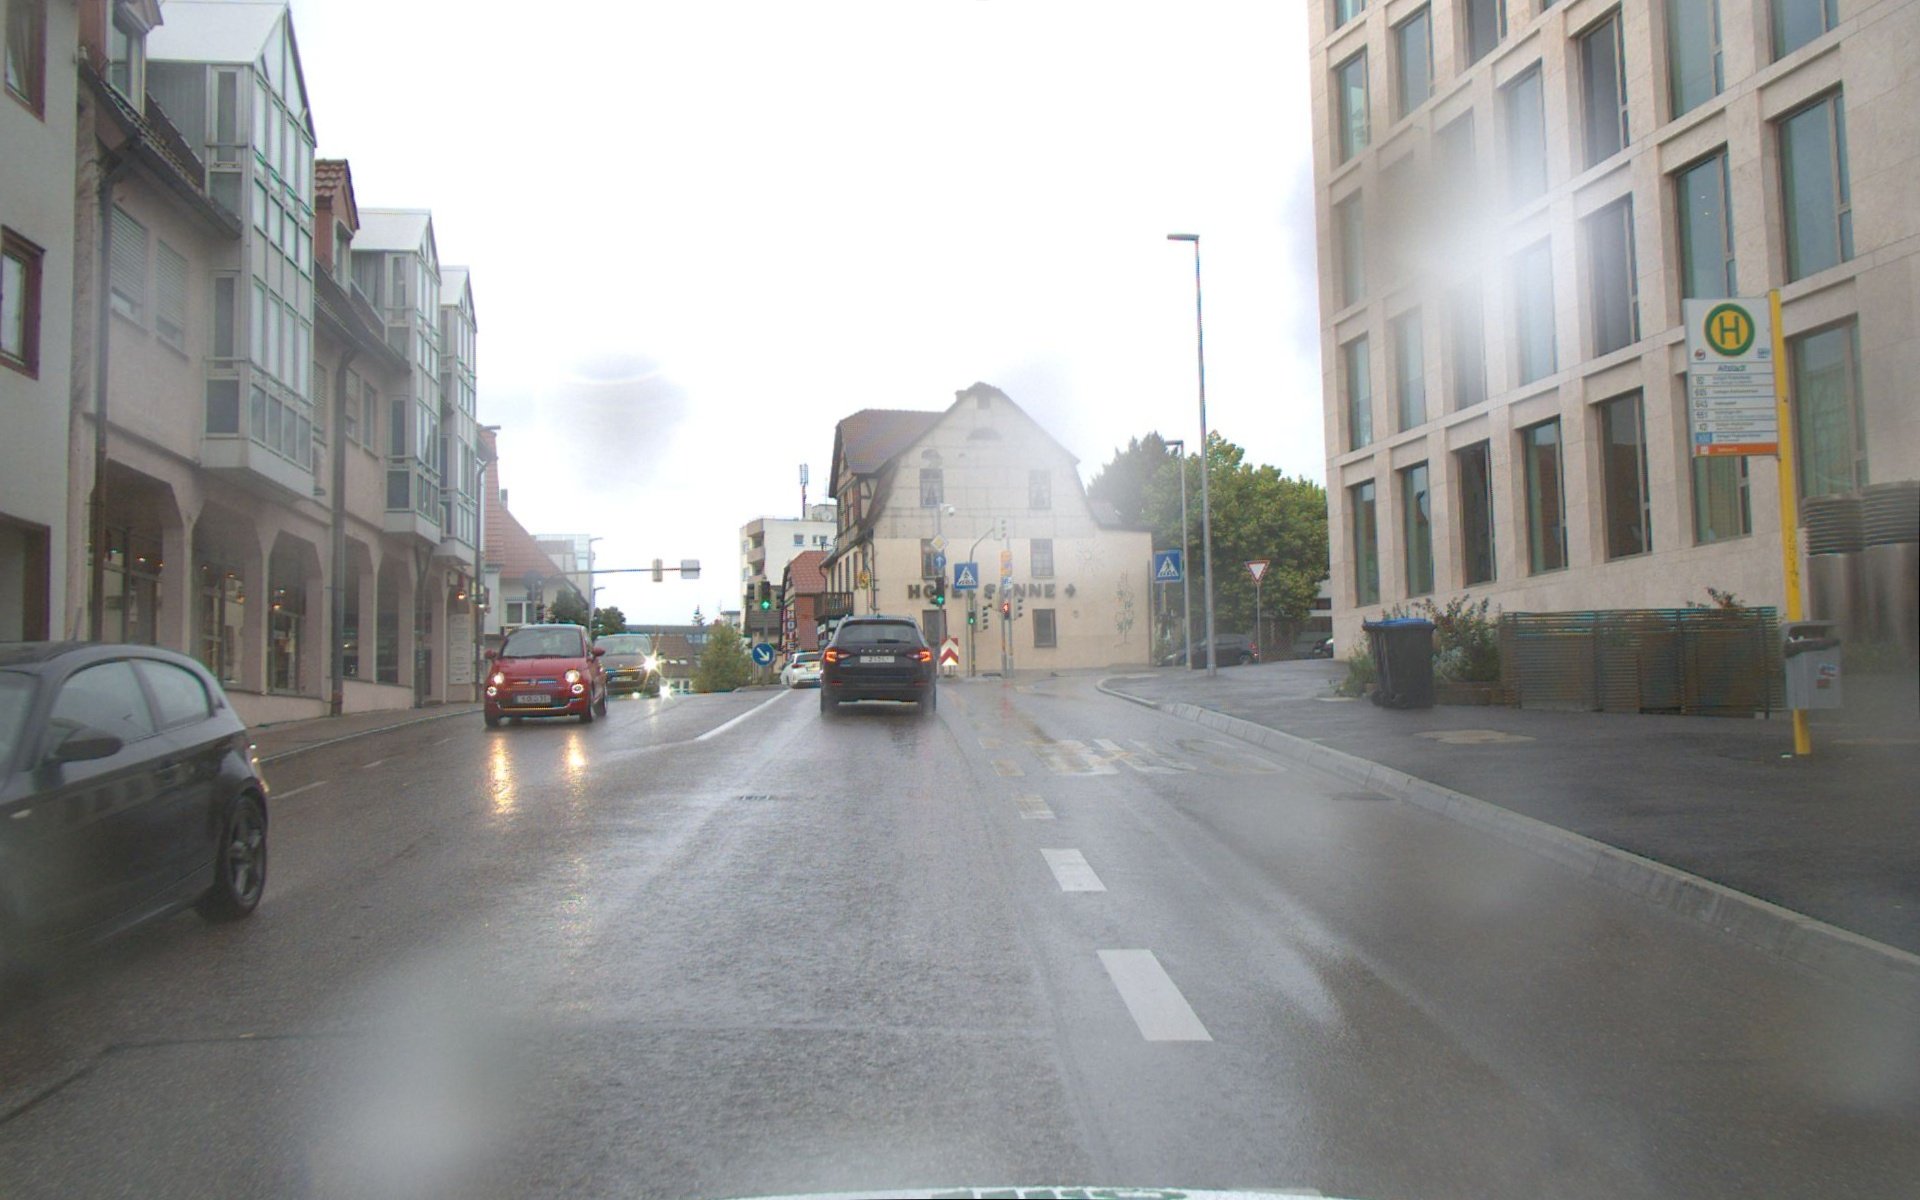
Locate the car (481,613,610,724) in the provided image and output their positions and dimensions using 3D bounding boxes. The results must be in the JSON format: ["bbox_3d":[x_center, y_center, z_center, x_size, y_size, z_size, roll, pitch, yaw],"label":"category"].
[{"bbox_3d":[-6.456,1.029,26.057,1.530,1.562,3.443,-2,0,-8],"label":"car"}]

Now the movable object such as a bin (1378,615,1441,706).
[{"bbox_3d":[5.536,0.736,20.376,0.583,1.081,0.579,-1,-1,-1],"label":"movable object such as a bin"}]

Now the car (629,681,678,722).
[{"bbox_3d":[-12.961,4.263,70.121,1.852,1.493,3.992,-2,-1,-9],"label":"car"}]

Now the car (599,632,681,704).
[{"bbox_3d":[-7.980,1.657,41.533,1.748,1.659,4.208,-1,-1,-8],"label":"car"}]

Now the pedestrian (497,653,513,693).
[{"bbox_3d":[-18.482,2.970,67.179,0.583,1.587,0.631,-2,-3,-18],"label":"pedestrian"}]

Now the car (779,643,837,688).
[{"bbox_3d":[-5.597,2.367,60.579,1.852,1.493,3.992,-2,-1,-8],"label":"car"}]

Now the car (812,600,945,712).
[{"bbox_3d":[-1.296,0.821,26.276,1.906,1.594,4.414,-1,0,-3],"label":"car"}]

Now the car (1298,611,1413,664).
[{"bbox_3d":[16.542,1.553,69.208,4.231,1.847,1.771,-3,-6,-15],"label":"car"}]

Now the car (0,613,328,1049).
[{"bbox_3d":[-4.150,0.808,6.920,1.654,1.469,3.907,-1,0,-3],"label":"car"}]

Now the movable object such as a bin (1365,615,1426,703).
[{"bbox_3d":[5.545,0.746,21.076,0.583,1.081,0.579,-1,-1,-1],"label":"movable object such as a bin"}]

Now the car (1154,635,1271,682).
[{"bbox_3d":[10.160,2.363,66.678,4.233,1.531,1.770,-3,-6,-17],"label":"car"}]
